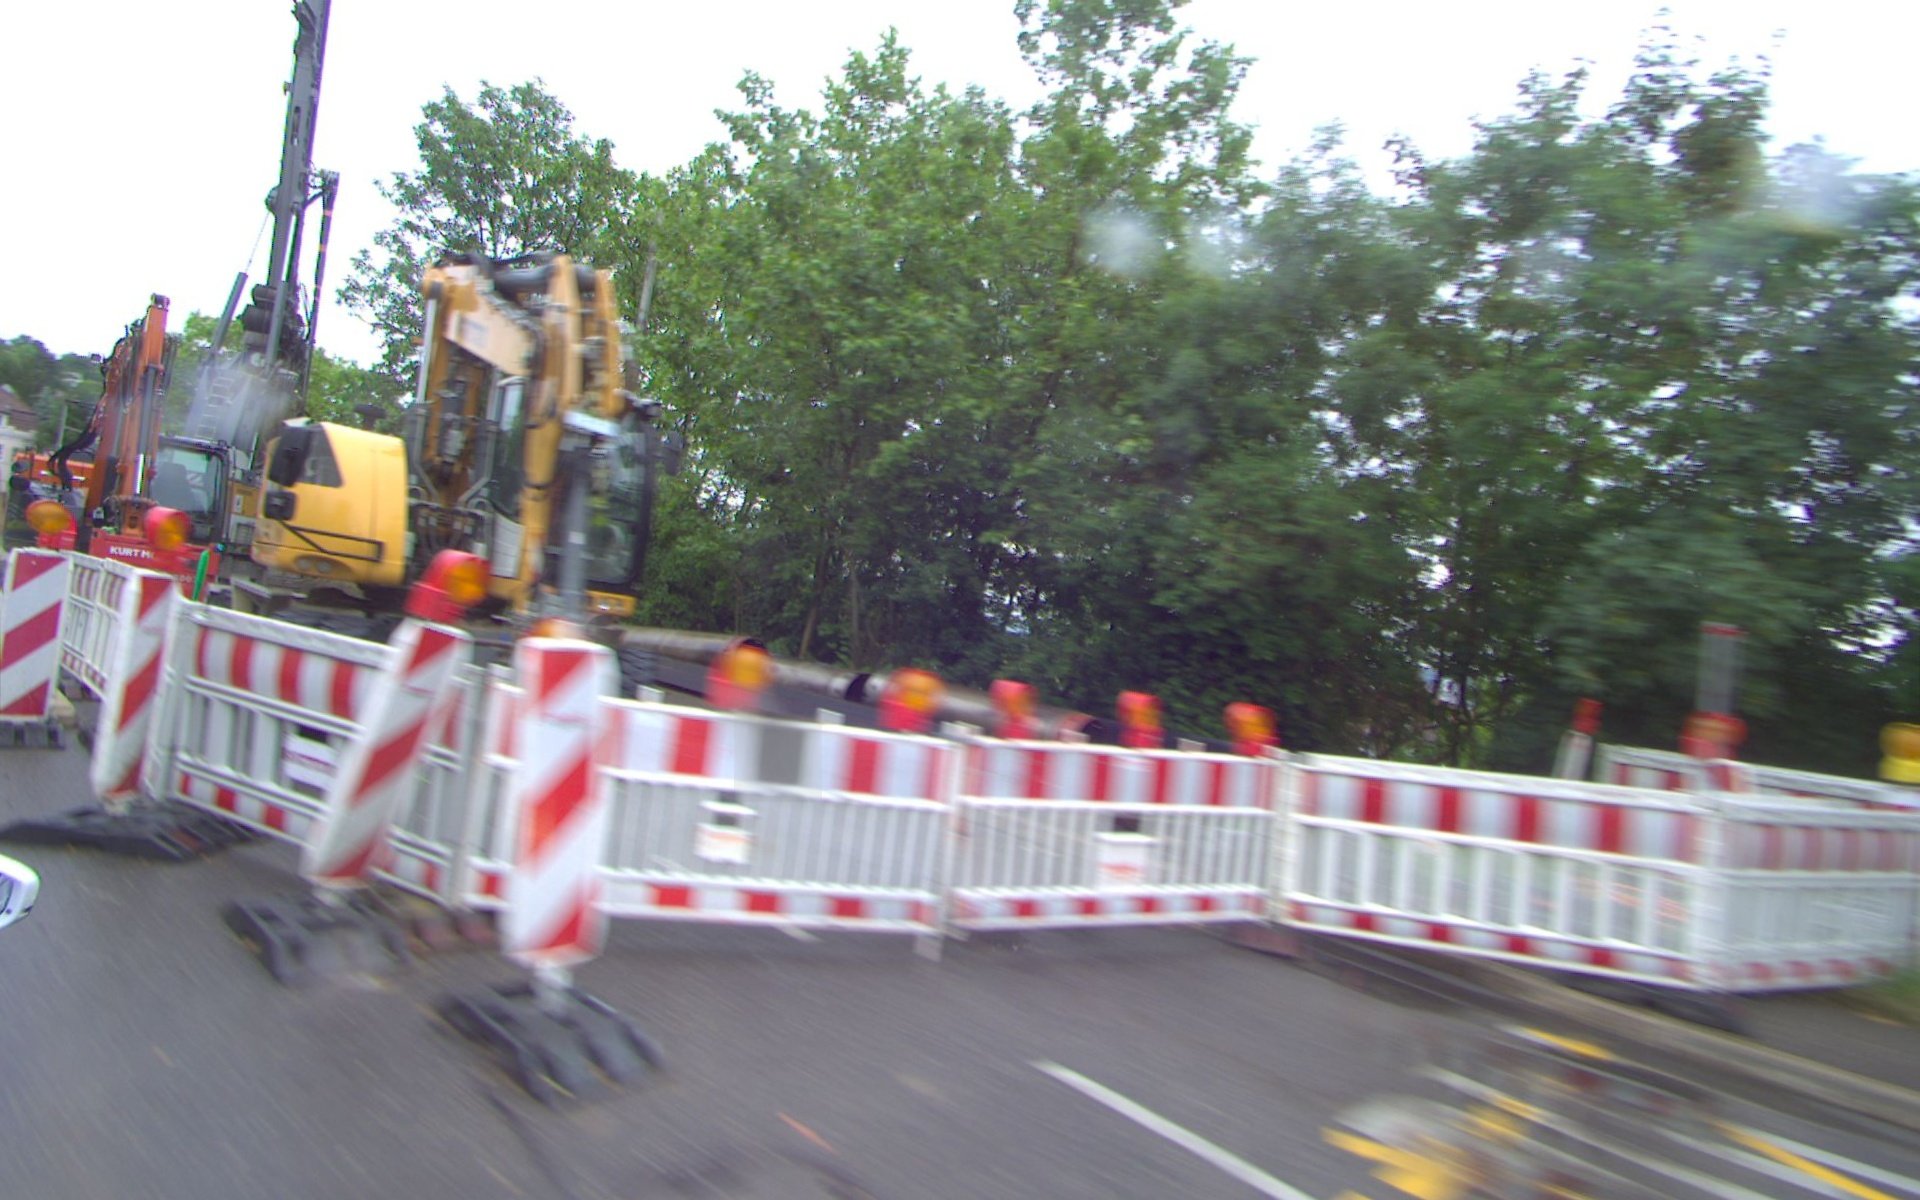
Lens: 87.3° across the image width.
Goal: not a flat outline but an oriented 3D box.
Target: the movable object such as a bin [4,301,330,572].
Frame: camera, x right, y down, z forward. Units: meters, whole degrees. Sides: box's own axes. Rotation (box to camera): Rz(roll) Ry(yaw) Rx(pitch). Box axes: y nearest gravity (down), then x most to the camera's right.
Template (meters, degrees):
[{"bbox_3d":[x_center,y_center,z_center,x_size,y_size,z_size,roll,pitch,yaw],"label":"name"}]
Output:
[{"bbox_3d":[-19.191,-3.556,25.179,3.639,5.126,7.140,7,-1,-17],"label":"movable object such as a bin"}]

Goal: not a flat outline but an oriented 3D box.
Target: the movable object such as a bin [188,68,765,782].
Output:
[{"bbox_3d":[-4.296,-1.042,8.537,2.869,4.222,4.433,7,0,-42],"label":"movable object such as a bin"}]

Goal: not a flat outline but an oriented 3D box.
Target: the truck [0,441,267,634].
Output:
[{"bbox_3d":[-11.726,-0.813,14.123,3.261,2.133,2.545,5,-2,44],"label":"truck"}]
